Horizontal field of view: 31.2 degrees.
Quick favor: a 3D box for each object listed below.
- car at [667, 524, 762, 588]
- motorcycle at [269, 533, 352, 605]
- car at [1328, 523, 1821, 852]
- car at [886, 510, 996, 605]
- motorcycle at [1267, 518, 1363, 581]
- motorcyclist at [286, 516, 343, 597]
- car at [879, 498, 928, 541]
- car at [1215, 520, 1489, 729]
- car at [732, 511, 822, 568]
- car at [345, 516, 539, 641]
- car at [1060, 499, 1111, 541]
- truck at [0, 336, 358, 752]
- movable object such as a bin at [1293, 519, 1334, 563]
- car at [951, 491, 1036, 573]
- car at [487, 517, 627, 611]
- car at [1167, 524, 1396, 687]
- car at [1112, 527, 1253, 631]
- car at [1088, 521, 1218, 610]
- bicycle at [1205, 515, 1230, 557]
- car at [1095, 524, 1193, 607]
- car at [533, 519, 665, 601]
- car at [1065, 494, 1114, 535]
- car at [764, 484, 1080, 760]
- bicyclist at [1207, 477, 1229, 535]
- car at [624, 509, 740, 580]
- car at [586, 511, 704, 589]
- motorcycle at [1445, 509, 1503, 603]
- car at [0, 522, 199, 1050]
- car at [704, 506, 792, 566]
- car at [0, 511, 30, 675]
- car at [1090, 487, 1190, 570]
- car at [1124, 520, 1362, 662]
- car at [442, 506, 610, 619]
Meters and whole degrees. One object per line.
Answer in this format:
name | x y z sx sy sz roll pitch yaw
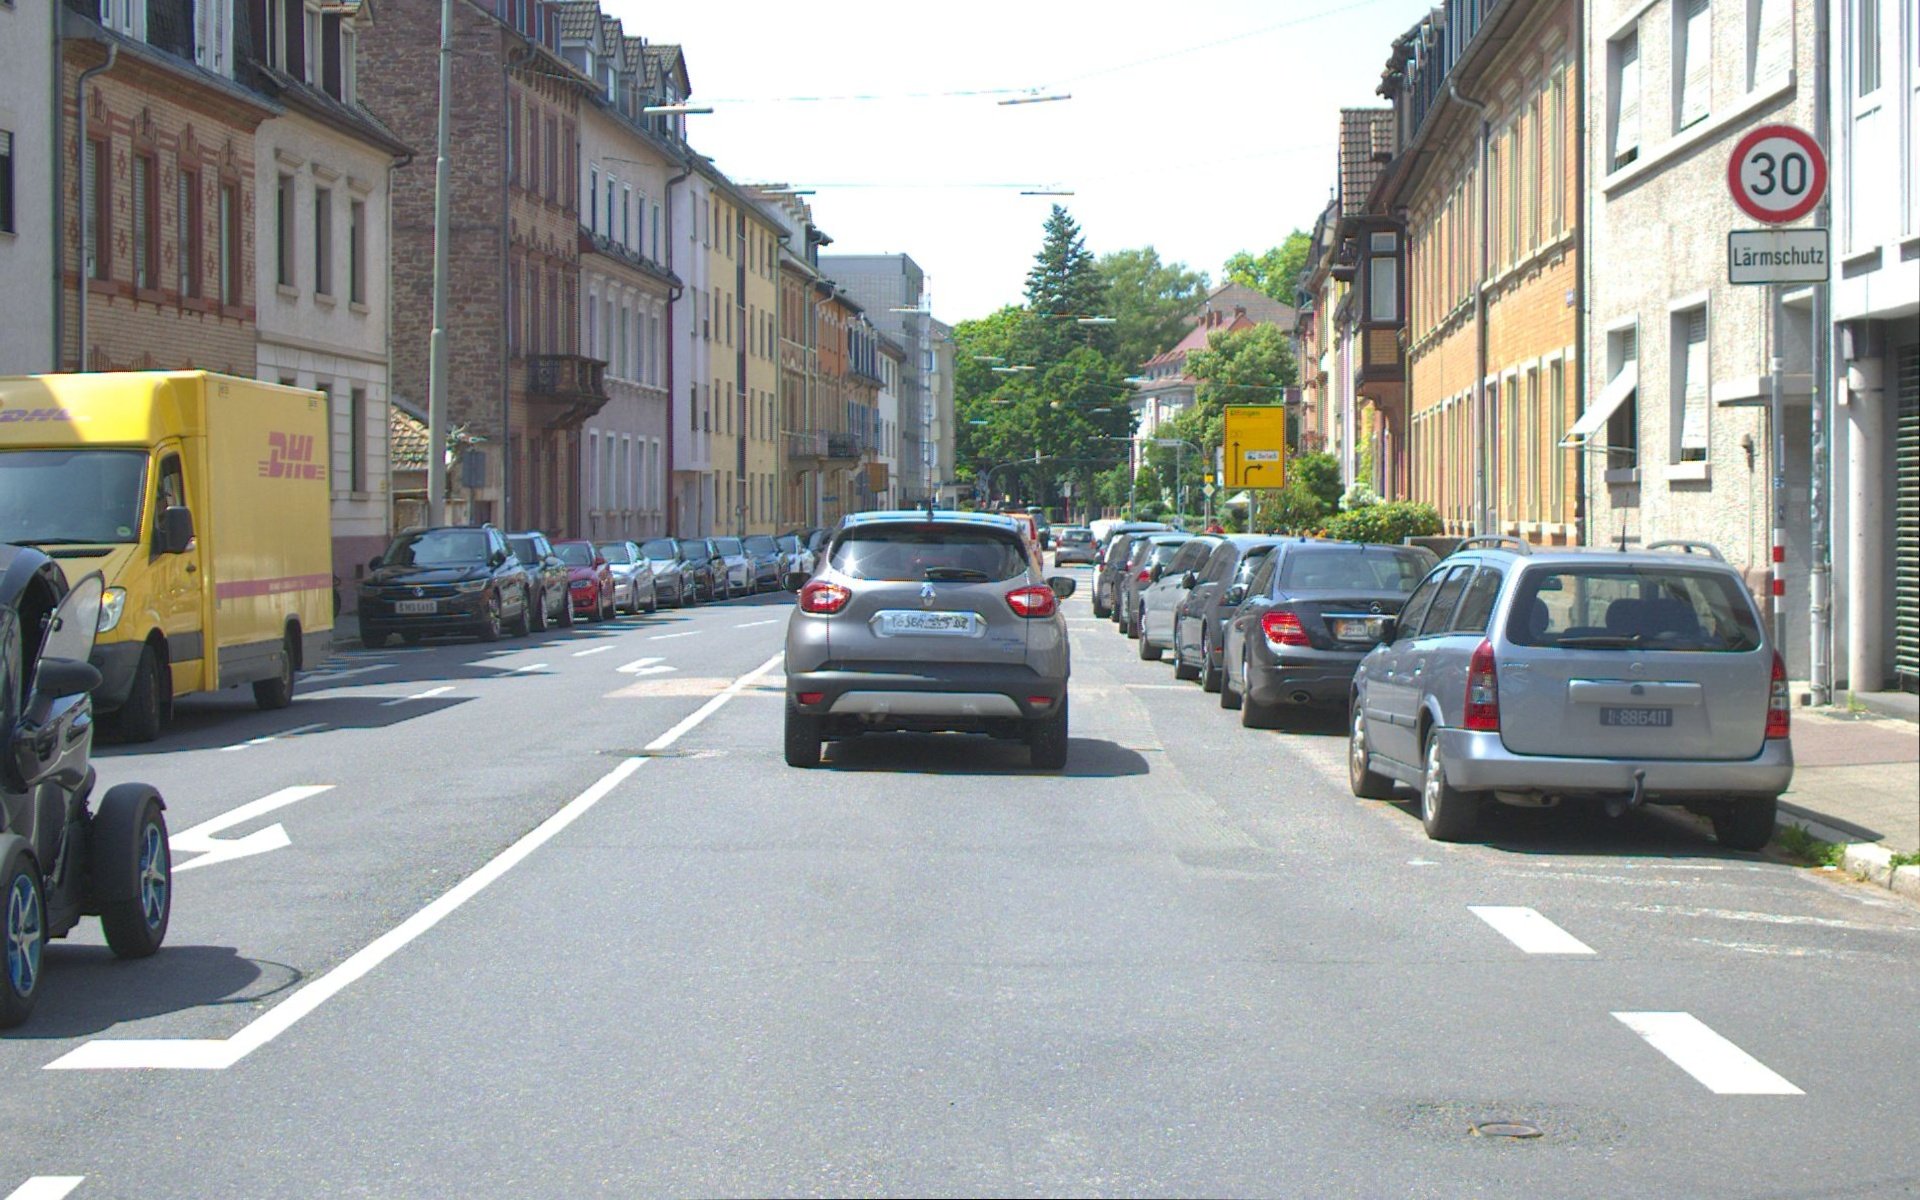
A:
car | -5.833 -1.066 81.997 1.840 1.417 4.502 -2 1 1
motorcycle | -10.075 -0.490 53.399 0.845 1.075 1.871 0 2 2
car | 3.051 0.360 17.896 1.677 1.449 4.143 1 2 -2
car | -0.303 -0.805 62.299 1.812 1.615 4.441 -1 1 1
motorcycle | 8.340 -1.188 80.830 2.129 1.403 0.937 -2 1 3
motorcyclist | -10.012 -0.679 53.317 0.718 1.244 0.712 0 1 2
car | -2.264 -3.246 138.700 1.904 1.614 4.303 -2 1 -1
car | 2.980 0.128 26.940 1.711 1.468 4.438 0 2 1
car | -4.958 -1.654 93.674 1.840 1.417 4.557 -3 1 4
car | -7.162 -0.338 47.957 1.840 1.591 4.502 -2 1 2
car | 4.756 -3.037 129.548 1.764 1.554 3.942 0 2 4
truck | -6.614 -0.460 26.833 2.225 2.761 7.564 -2 2 2
movable object such as a bin | 7.363 -1.234 71.692 0.788 0.904 0.539 -1 2 0
car | 0.872 -1.751 87.334 1.994 2.006 4.466 -1 2 2
car | -6.781 -0.638 58.303 1.839 1.417 4.503 -3 2 -1
car | 2.985 0.004 32.622 1.651 1.415 4.049 0 2 -2
car | 3.097 -0.331 48.484 1.700 1.376 4.167 1 1 0
car | 3.165 -0.598 57.188 1.648 1.409 4.502 0 1 -3
bicycle | 6.552 -1.633 87.486 0.593 1.062 1.882 -1 1 3
car | 3.354 -0.653 62.760 1.716 1.409 4.589 -1 2 3
car | -6.789 -0.778 65.035 1.840 1.417 4.502 -2 1 2
car | 5.121 -3.373 135.471 1.764 1.554 3.942 0 2 4
car | -0.336 0.066 22.324 1.743 1.611 4.001 1 2 -5
bicyclist | 6.553 -2.380 87.411 0.532 1.464 0.791 -1 1 4
car | -6.164 -1.262 76.746 1.840 1.417 4.502 -4 1 4
car | -6.449 -1.039 70.887 1.840 1.417 4.502 -5 1 1
motorcycle | 6.730 -0.584 45.017 0.596 1.220 1.361 0 1 2
car | -3.368 0.493 10.886 1.496 1.454 2.723 0 2 -5
car | -5.389 -1.634 87.906 1.840 1.417 4.646 -2 1 1
car | -9.623 -0.061 29.788 1.840 1.483 4.387 2 1 1
car | 3.743 -1.498 71.577 1.994 1.656 4.625 -1 1 3
car | 3.057 -0.145 38.023 1.853 1.458 4.551 0 1 -5
car | -6.759 -0.613 53.996 1.840 1.591 4.502 -3 1 2
